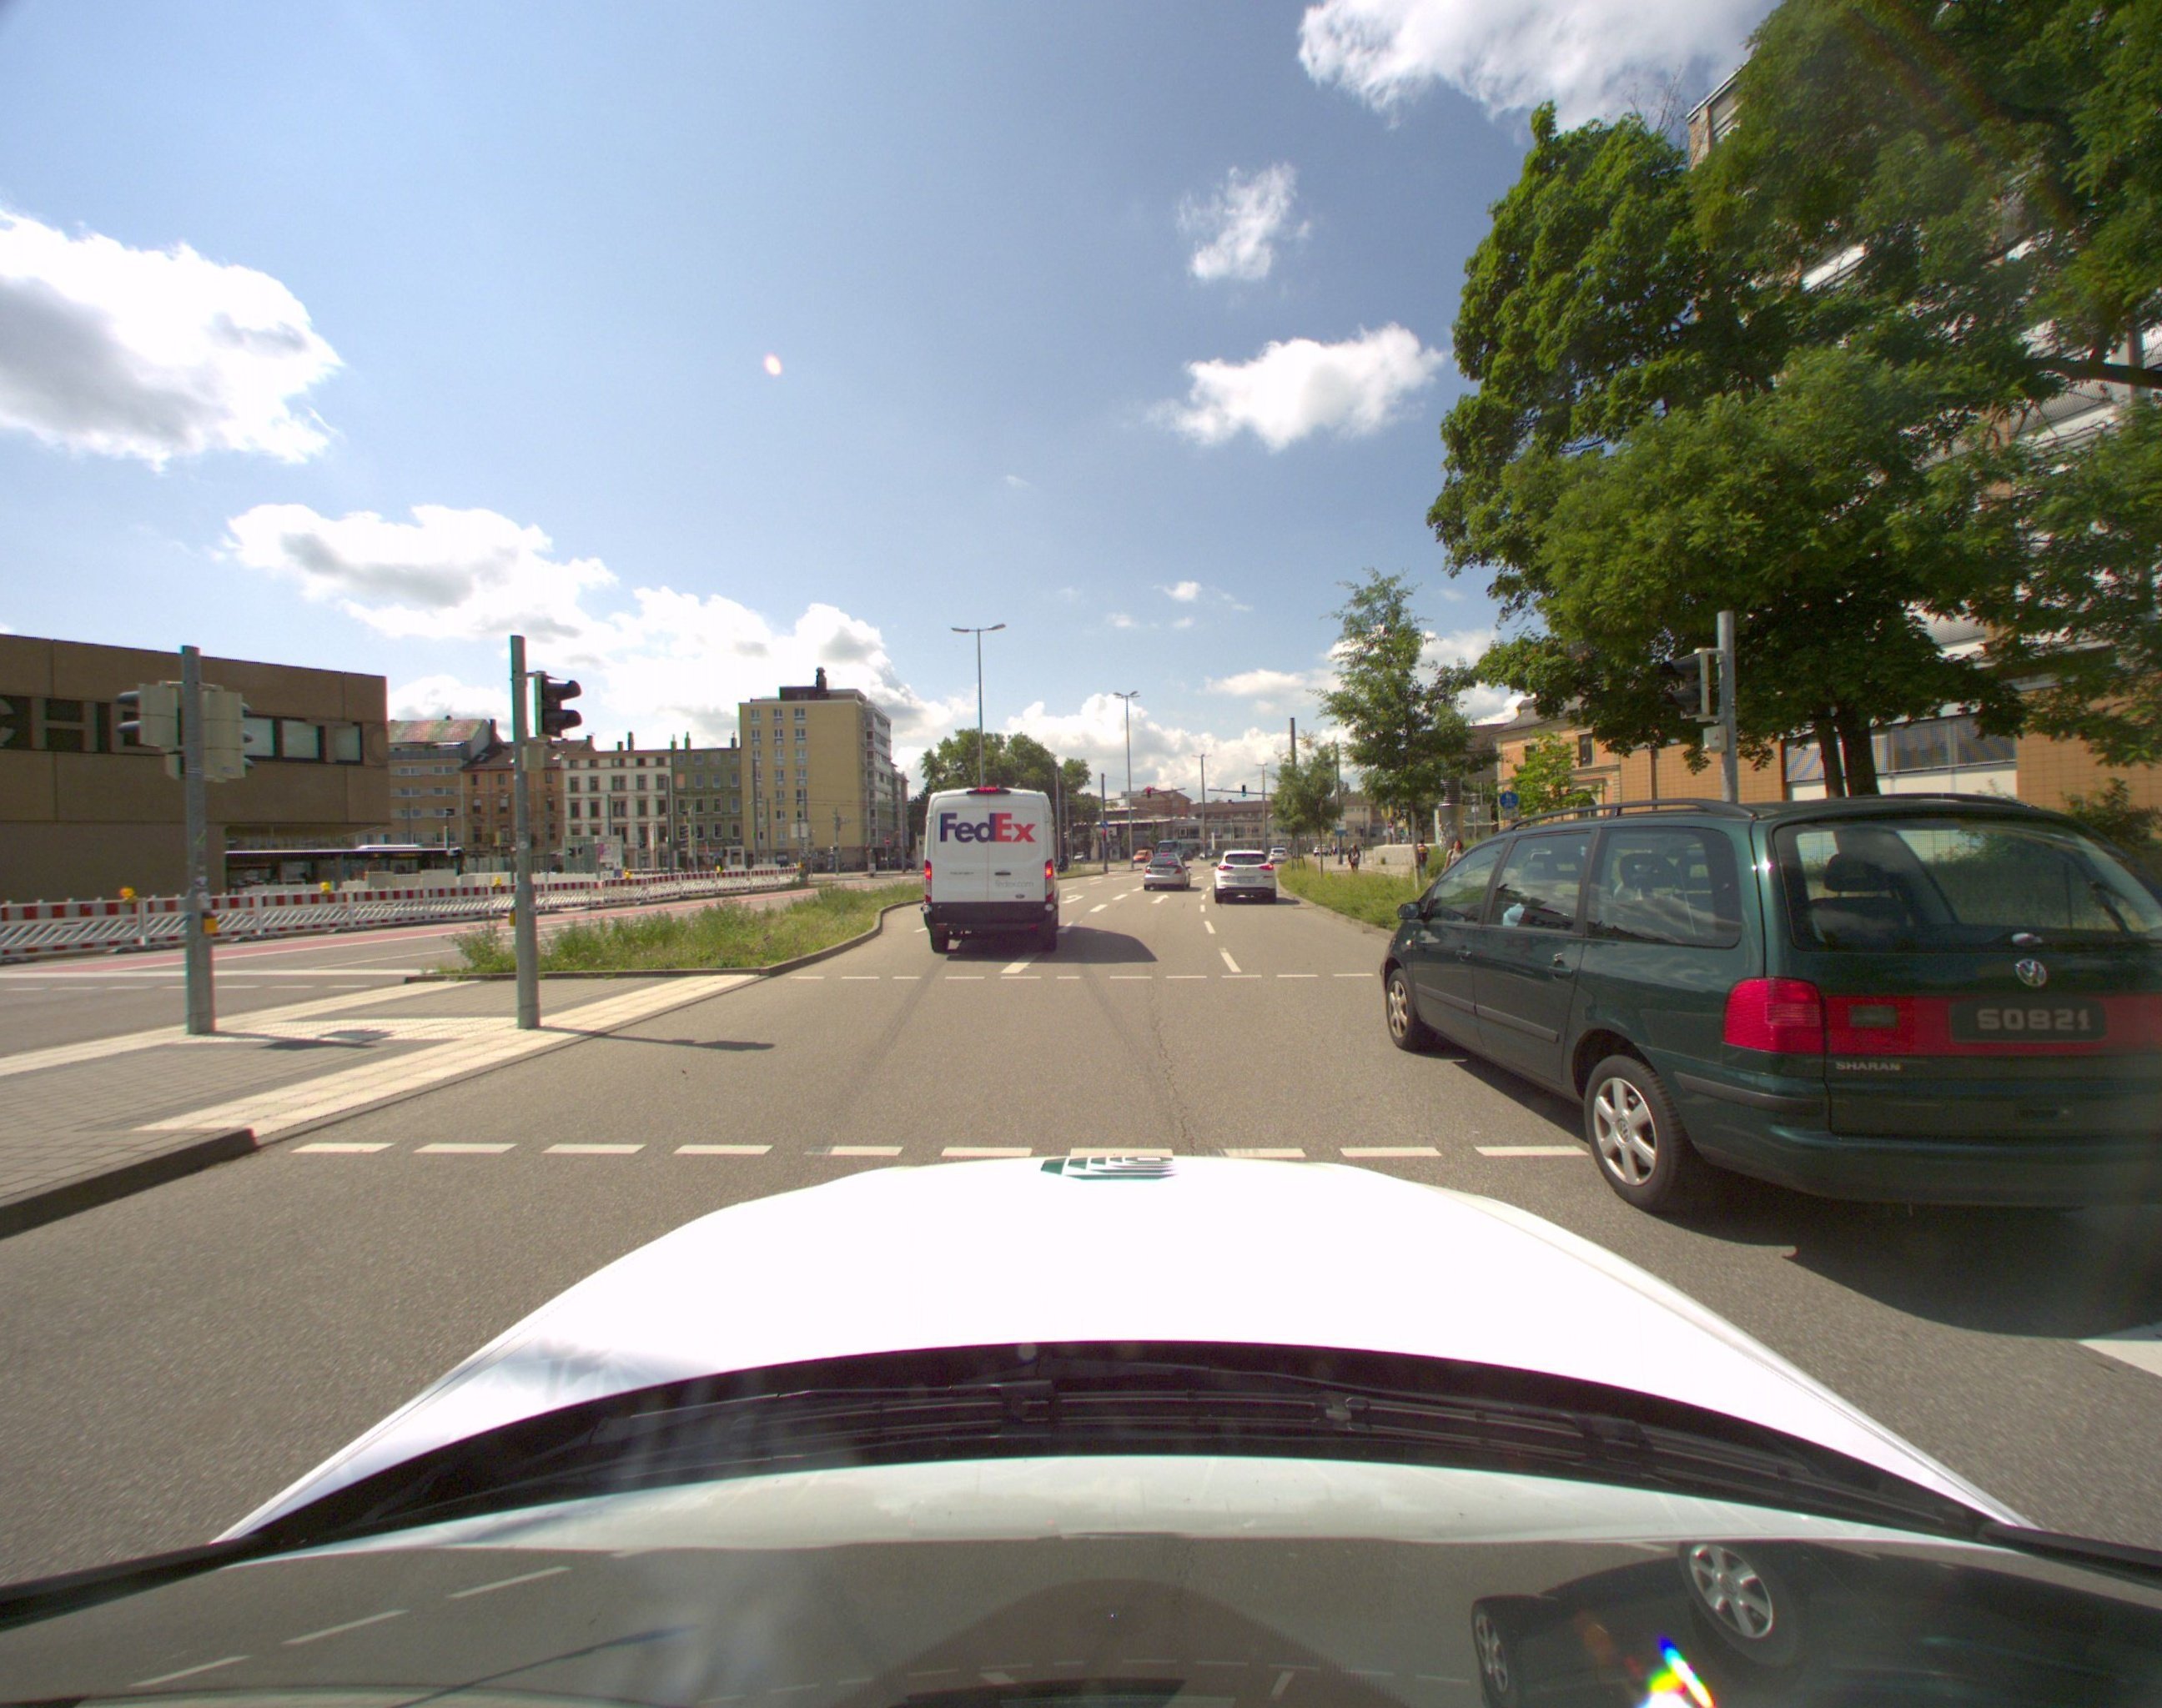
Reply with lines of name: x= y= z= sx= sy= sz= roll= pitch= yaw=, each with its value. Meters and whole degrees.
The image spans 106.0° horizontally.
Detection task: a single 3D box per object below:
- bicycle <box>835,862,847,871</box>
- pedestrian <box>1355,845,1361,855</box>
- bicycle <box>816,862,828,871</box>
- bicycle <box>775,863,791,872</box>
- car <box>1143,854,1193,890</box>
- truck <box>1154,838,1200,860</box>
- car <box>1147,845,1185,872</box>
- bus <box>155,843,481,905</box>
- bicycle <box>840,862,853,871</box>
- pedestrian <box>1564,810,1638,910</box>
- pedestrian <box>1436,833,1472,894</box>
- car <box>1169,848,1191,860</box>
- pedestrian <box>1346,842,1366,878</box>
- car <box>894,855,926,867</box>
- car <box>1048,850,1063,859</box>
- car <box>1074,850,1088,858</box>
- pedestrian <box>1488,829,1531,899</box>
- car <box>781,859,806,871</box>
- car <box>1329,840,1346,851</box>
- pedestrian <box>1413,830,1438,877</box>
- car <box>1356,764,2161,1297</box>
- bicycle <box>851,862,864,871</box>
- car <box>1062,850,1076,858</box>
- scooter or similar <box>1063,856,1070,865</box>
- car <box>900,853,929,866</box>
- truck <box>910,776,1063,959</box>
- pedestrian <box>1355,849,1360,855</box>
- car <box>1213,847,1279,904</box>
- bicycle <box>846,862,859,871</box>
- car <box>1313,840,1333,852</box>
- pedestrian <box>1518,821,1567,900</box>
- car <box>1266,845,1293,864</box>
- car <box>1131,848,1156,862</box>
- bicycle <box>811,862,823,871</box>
bicycle: x=-31.639 y=1.656 z=107.329 sx=2.107 sy=1.147 sz=0.515 roll=-1 pitch=-1 yaw=41
pedestrian: x=42.174 y=-0.610 z=123.978 sx=0.686 sy=1.457 sz=0.684 roll=-1 pitch=-1 yaw=29
bicycle: x=-34.203 y=1.684 z=107.461 sx=2.108 sy=1.147 sz=0.514 roll=-1 pitch=-1 yaw=44
bicycle: x=-39.309 y=1.733 z=107.323 sx=1.933 sy=1.147 sz=0.528 roll=-1 pitch=-1 yaw=2
car: x=3.756 y=0.729 z=34.740 sx=1.730 sy=1.391 sz=4.192 roll=-2 pitch=0 yaw=11
truck: x=13.313 y=-0.727 z=112.219 sx=2.857 sy=2.852 sz=8.848 roll=-2 pitch=0 yaw=31
car: x=5.662 y=0.245 z=53.607 sx=1.915 sy=1.641 sz=4.809 roll=-2 pitch=1 yaw=12
bus: x=-39.440 y=0.931 z=42.921 sx=2.562 sy=2.859 sz=12.342 roll=-1 pitch=-1 yaw=41
bicycle: x=-30.991 y=1.643 z=107.616 sx=2.107 sy=1.147 sz=0.515 roll=-1 pitch=-1 yaw=41
pedestrian: x=10.073 y=0.115 z=15.793 sx=0.755 sy=1.821 sz=0.778 roll=-5 pitch=0 yaw=-9
pedestrian: x=10.321 y=0.265 z=22.574 sx=0.646 sy=1.626 sz=0.777 roll=-4 pitch=-1 yaw=13
car: x=12.901 y=-0.021 z=105.637 sx=1.638 sy=1.469 sz=4.177 roll=-2 pitch=0 yaw=24
pedestrian: x=12.327 y=0.286 z=36.482 sx=0.750 sy=1.589 sz=0.764 roll=-1 pitch=-1 yaw=13
car: x=-24.050 y=0.954 z=114.377 sx=4.092 sy=1.665 sz=1.868 roll=-1 pitch=-1 yaw=-2
car: x=-4.949 y=0.086 z=159.231 sx=1.981 sy=1.574 sz=4.191 roll=-1 pitch=-1 yaw=11
car: x=0.028 y=0.015 z=157.948 sx=1.981 sy=1.574 sz=4.191 roll=-1 pitch=-1 yaw=11
pedestrian: x=10.173 y=0.230 z=19.344 sx=0.586 sy=1.626 sz=0.727 roll=-1 pitch=-1 yaw=-2
car: x=-35.016 y=1.350 z=99.165 sx=1.667 sy=1.321 sz=3.316 roll=-2 pitch=0 yaw=-41
car: x=39.878 y=-1.315 z=126.588 sx=1.864 sy=1.641 sz=3.980 roll=-2 pitch=1 yaw=25
pedestrian: x=13.626 y=-0.021 z=32.240 sx=0.751 sy=1.821 sz=0.676 roll=-1 pitch=-1 yaw=10
car: x=3.208 y=0.566 z=4.877 sx=1.787 sy=1.723 sz=4.451 roll=-1 pitch=0 yaw=3
bicycle: x=-29.718 y=1.660 z=108.195 sx=2.107 sy=1.147 sz=0.515 roll=-1 pitch=-1 yaw=41
car: x=-2.351 y=0.052 z=158.714 sx=1.981 sy=1.574 sz=4.191 roll=-1 pitch=-1 yaw=11
scooter or similar: x=-1.911 y=0.893 z=108.422 sx=0.374 sy=1.115 sz=1.102 roll=-1 pitch=-1 yaw=33
car: x=-25.417 y=0.852 z=124.287 sx=4.087 sy=1.858 sz=1.983 roll=-1 pitch=-1 yaw=-2
truck: x=-1.443 y=0.199 z=14.846 sx=2.130 sy=2.640 sz=5.915 roll=-1 pitch=0 yaw=-1
pedestrian: x=42.098 y=-0.254 z=123.933 sx=0.519 sy=0.906 sz=1.570 roll=-1 pitch=-1 yaw=28
car: x=5.254 y=0.634 z=26.410 sx=1.870 sy=1.641 sz=4.243 roll=-2 pitch=1 yaw=9
bicycle: x=-30.287 y=1.650 z=107.864 sx=2.107 sy=1.147 sz=0.537 roll=-1 pitch=-1 yaw=41
car: x=34.439 y=-1.116 z=115.984 sx=1.863 sy=1.641 sz=3.982 roll=-2 pitch=1 yaw=29
pedestrian: x=10.894 y=0.157 z=19.243 sx=0.754 sy=1.821 sz=0.637 roll=-1 pitch=-1 yaw=-3
car: x=18.939 y=0.050 z=77.678 sx=1.864 sy=1.641 sz=3.979 roll=-2 pitch=1 yaw=22
car: x=8.781 y=0.095 z=114.522 sx=1.702 sy=1.800 sz=4.769 roll=-3 pitch=0 yaw=27
bicycle: x=-34.752 y=1.694 z=107.226 sx=2.108 sy=1.147 sz=0.514 roll=-1 pitch=-1 yaw=44
